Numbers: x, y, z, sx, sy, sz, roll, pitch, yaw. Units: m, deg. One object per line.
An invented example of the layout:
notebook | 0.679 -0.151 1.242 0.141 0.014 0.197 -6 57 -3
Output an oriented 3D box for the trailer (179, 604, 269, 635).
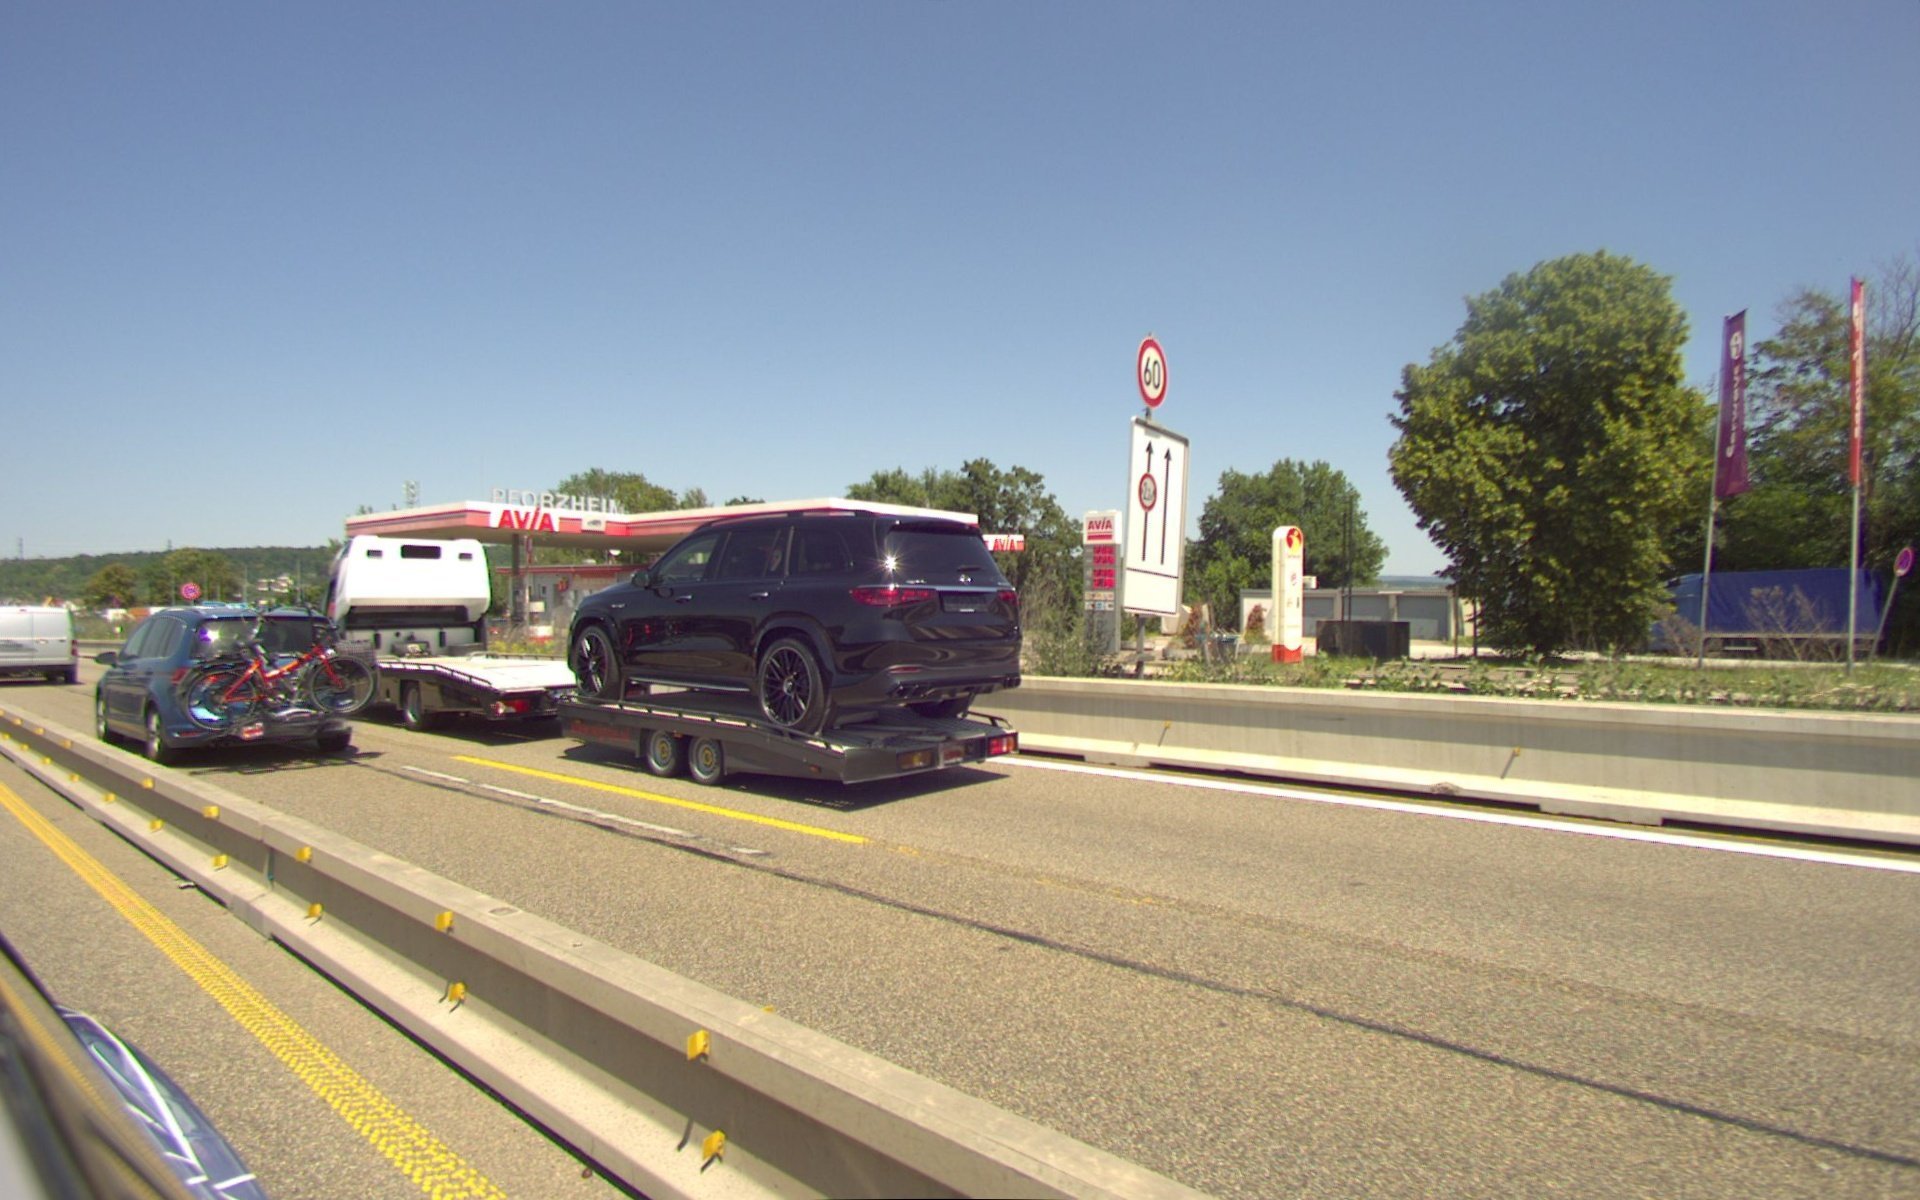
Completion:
trailer | -121.700 3.168 167.472 12.192 4.197 2.863 -4 1 -4

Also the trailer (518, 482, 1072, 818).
trailer | -1.869 0.415 9.696 5.611 2.332 2.159 -2 -1 41

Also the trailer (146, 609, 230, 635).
trailer | -140.389 4.044 184.060 12.560 3.812 2.624 -4 1 -4

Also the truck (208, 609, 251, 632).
truck | -133.371 3.719 184.710 5.647 3.644 2.585 -4 1 -8

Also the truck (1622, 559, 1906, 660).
truck | 27.476 0.354 35.019 2.779 3.087 7.144 0 -1 -27

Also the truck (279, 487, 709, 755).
truck | -6.989 0.294 14.365 8.125 2.845 2.454 -2 -1 41

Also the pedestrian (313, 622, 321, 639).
pedestrian | -45.843 2.199 72.108 0.467 1.214 0.587 0 -2 -34

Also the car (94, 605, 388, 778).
car | -8.298 0.922 11.557 3.998 1.621 1.885 -2 -2 41

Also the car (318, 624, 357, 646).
car | -44.765 2.476 72.853 1.478 1.342 4.199 -4 1 -19

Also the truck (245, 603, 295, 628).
truck | -114.547 2.554 167.982 6.054 3.778 2.837 -4 1 -4

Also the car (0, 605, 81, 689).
car | -22.571 1.109 24.096 4.588 1.854 1.834 -2 -2 41

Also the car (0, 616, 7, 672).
car | -33.615 1.501 33.942 5.078 1.818 1.887 -2 -2 41
